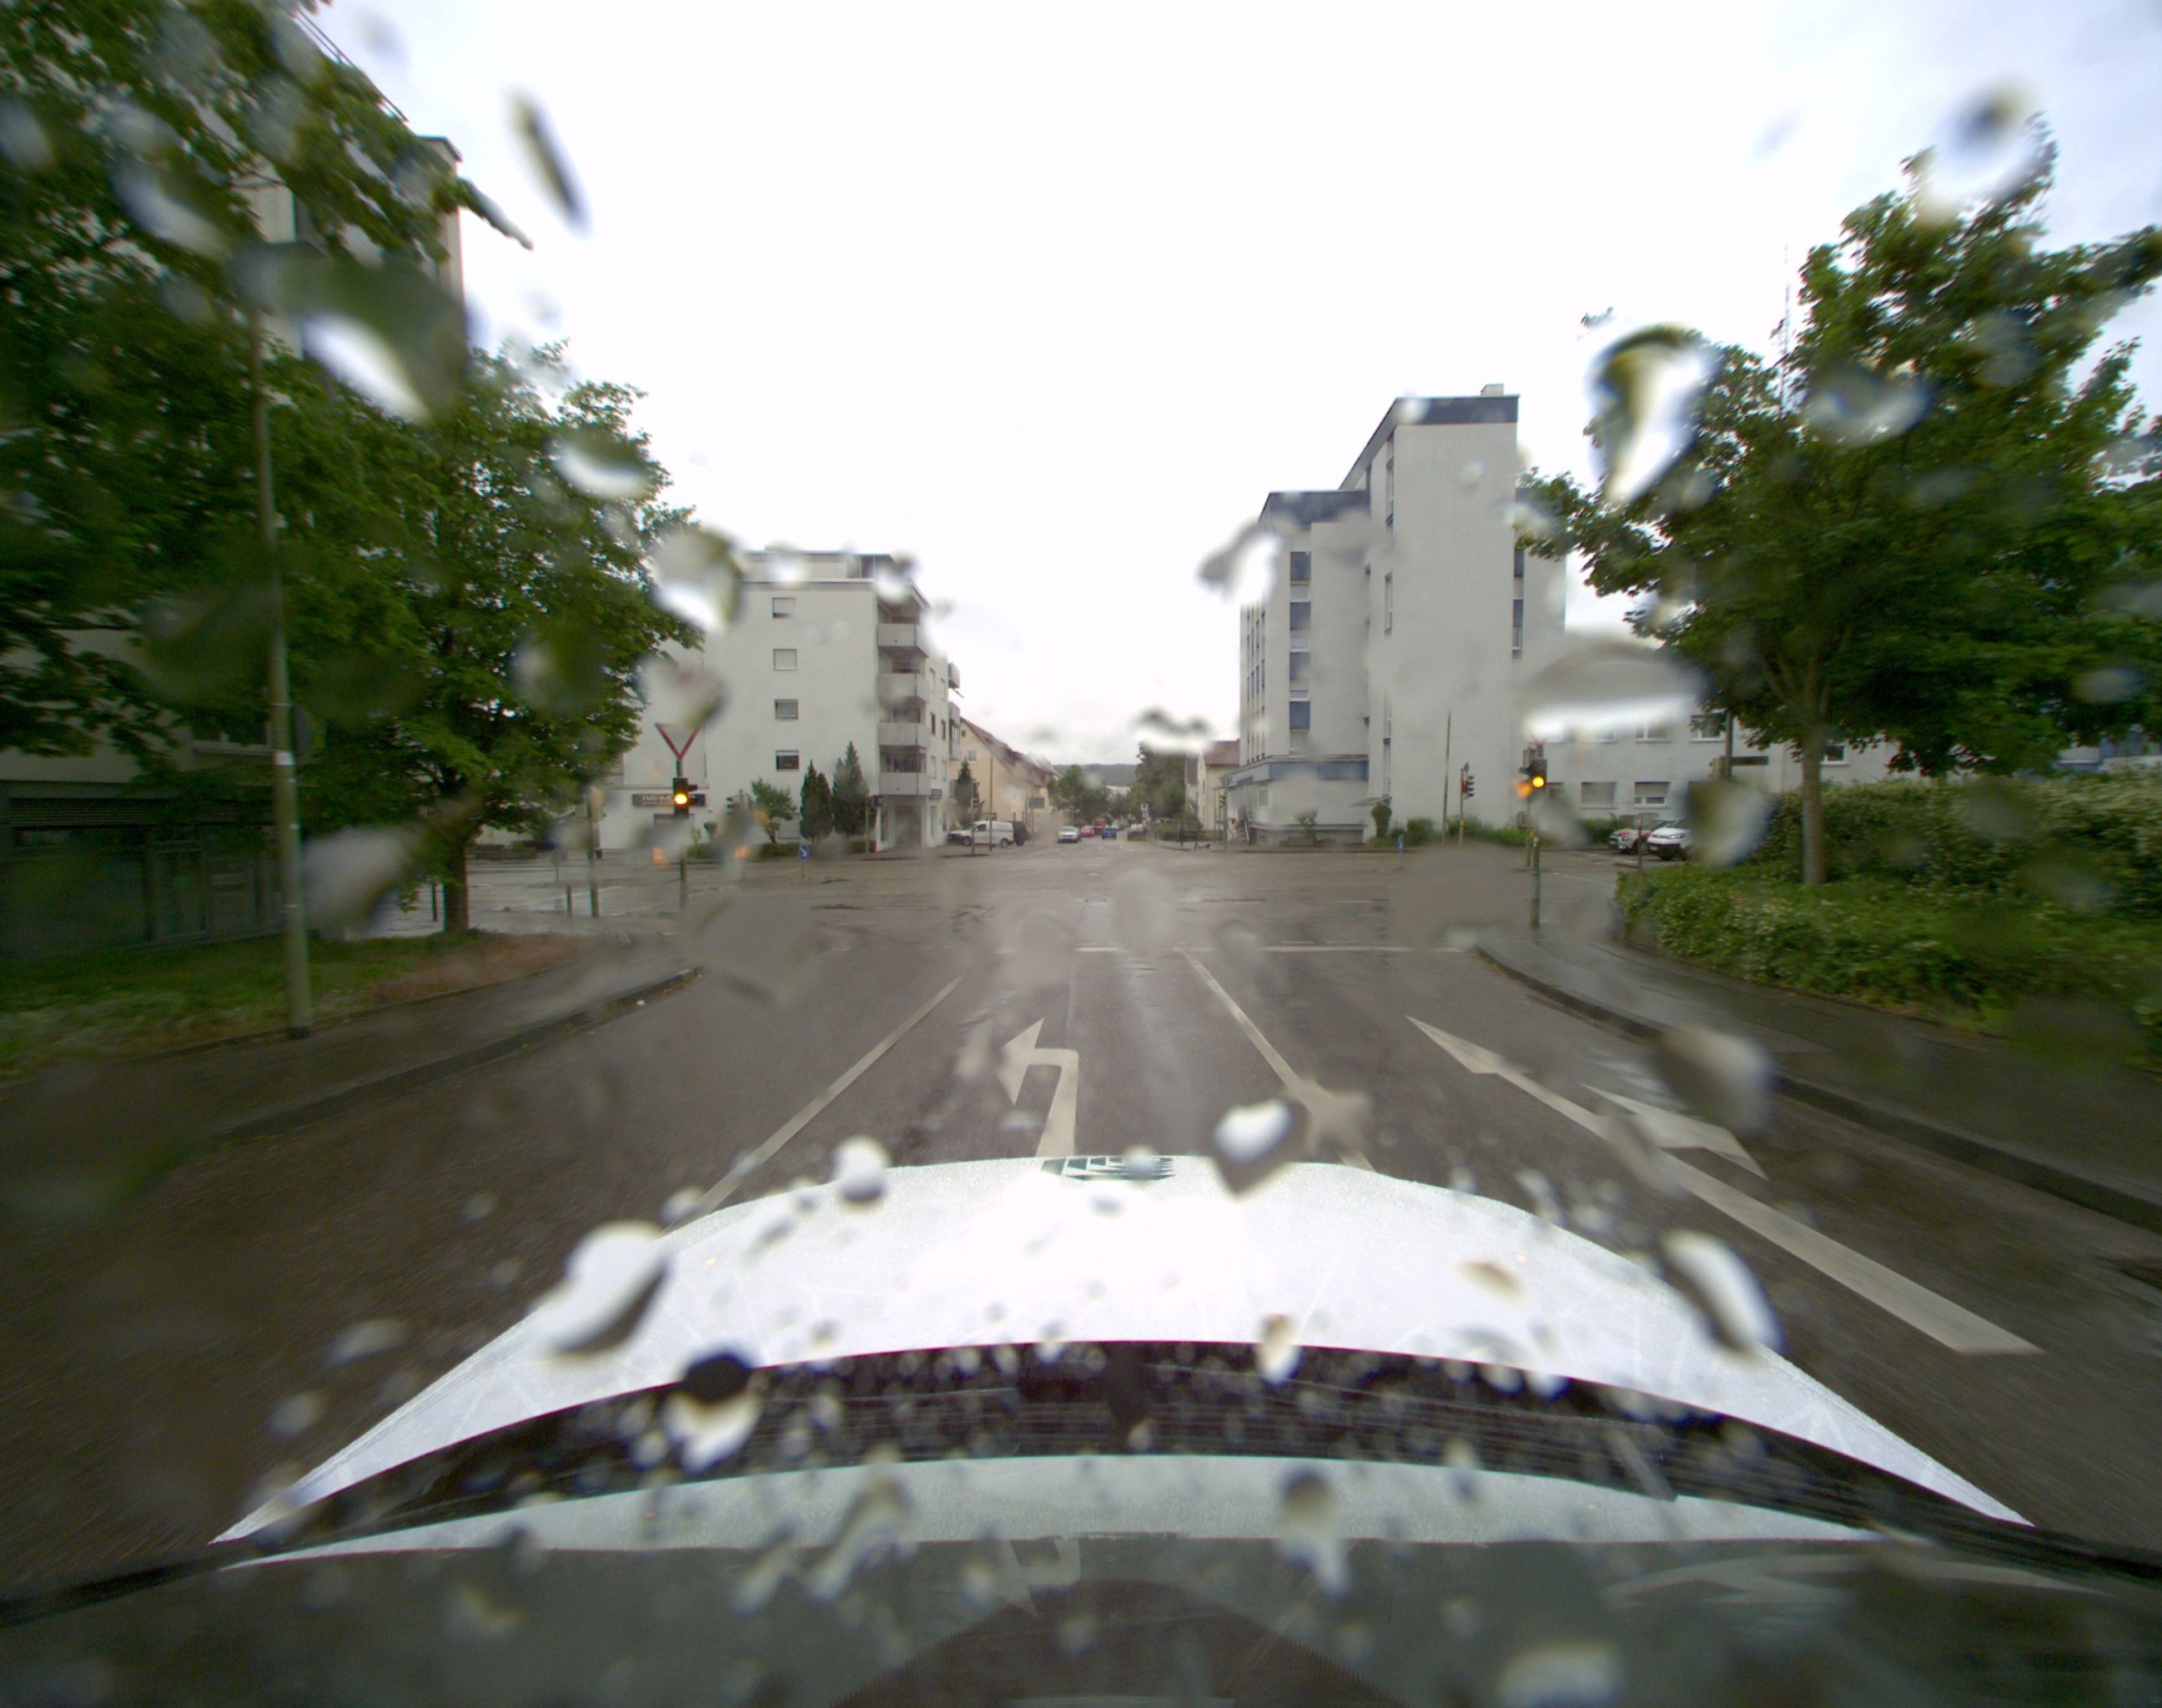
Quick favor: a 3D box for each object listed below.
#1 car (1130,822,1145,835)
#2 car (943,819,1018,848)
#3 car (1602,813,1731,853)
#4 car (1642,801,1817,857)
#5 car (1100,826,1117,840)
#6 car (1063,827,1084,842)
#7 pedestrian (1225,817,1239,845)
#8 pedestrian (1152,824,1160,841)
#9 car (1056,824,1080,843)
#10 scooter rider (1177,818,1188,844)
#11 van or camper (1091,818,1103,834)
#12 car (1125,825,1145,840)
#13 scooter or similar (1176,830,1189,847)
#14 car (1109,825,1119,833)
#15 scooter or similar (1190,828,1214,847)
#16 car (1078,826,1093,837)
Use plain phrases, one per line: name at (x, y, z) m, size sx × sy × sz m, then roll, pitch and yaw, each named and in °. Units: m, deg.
car at (7.759, -3.499, 112.659) m, size 1.893 × 1.745 × 4.195 m, roll -2°, pitch 2°, yaw 3°
car at (-7.002, -1.449, 57.106) m, size 4.866 × 1.835 × 1.978 m, roll -3°, pitch 2°, yaw -36°
car at (24.151, -0.873, 33.733) m, size 3.966 × 1.467 × 1.835 m, roll -2°, pitch 2°, yaw 6°
car at (23.830, -0.899, 30.090) m, size 4.786 × 1.916 × 1.831 m, roll -1°, pitch 0°, yaw 9°
car at (3.335, -2.568, 99.587) m, size 1.987 × 1.683 × 4.001 m, roll -2°, pitch 2°, yaw 0°
car at (-0.784, -2.128, 88.680) m, size 1.985 × 1.625 × 4.195 m, roll -2°, pitch 2°, yaw 3°
pedestrian at (9.033, -1.377, 48.720) m, size 0.646 × 1.647 × 0.525 m, roll 2°, pitch 1°, yaw -4°
pedestrian at (8.060, -2.320, 87.129) m, size 0.744 × 1.848 × 0.525 m, roll 2°, pitch 1°, yaw -4°
car at (-1.182, -1.954, 77.277) m, size 1.985 × 1.625 × 4.195 m, roll -2°, pitch 2°, yaw 3°
scooter rider at (7.128, -1.592, 57.225) m, size 0.748 × 1.795 × 0.674 m, roll -2°, pitch 1°, yaw 4°
van or camper at (2.713, -4.665, 135.793) m, size 1.893 × 2.513 × 4.243 m, roll -2°, pitch 2°, yaw 3°
car at (6.014, -2.379, 90.537) m, size 2.137 × 1.589 × 4.132 m, roll -2°, pitch 2°, yaw 3°
scooter or similar at (7.127, -1.122, 57.211) m, size 0.753 × 1.171 × 1.316 m, roll -2°, pitch 1°, yaw 4°
car at (6.641, -4.982, 163.821) m, size 1.893 × 1.558 × 4.195 m, roll -2°, pitch 2°, yaw 3°
scooter or similar at (7.085, -0.973, 47.680) m, size 1.265 × 1.081 × 0.876 m, roll -2°, pitch 1°, yaw -2°
car at (0.607, -3.138, 113.714) m, size 1.893 × 1.558 × 4.195 m, roll -2°, pitch 2°, yaw 3°
